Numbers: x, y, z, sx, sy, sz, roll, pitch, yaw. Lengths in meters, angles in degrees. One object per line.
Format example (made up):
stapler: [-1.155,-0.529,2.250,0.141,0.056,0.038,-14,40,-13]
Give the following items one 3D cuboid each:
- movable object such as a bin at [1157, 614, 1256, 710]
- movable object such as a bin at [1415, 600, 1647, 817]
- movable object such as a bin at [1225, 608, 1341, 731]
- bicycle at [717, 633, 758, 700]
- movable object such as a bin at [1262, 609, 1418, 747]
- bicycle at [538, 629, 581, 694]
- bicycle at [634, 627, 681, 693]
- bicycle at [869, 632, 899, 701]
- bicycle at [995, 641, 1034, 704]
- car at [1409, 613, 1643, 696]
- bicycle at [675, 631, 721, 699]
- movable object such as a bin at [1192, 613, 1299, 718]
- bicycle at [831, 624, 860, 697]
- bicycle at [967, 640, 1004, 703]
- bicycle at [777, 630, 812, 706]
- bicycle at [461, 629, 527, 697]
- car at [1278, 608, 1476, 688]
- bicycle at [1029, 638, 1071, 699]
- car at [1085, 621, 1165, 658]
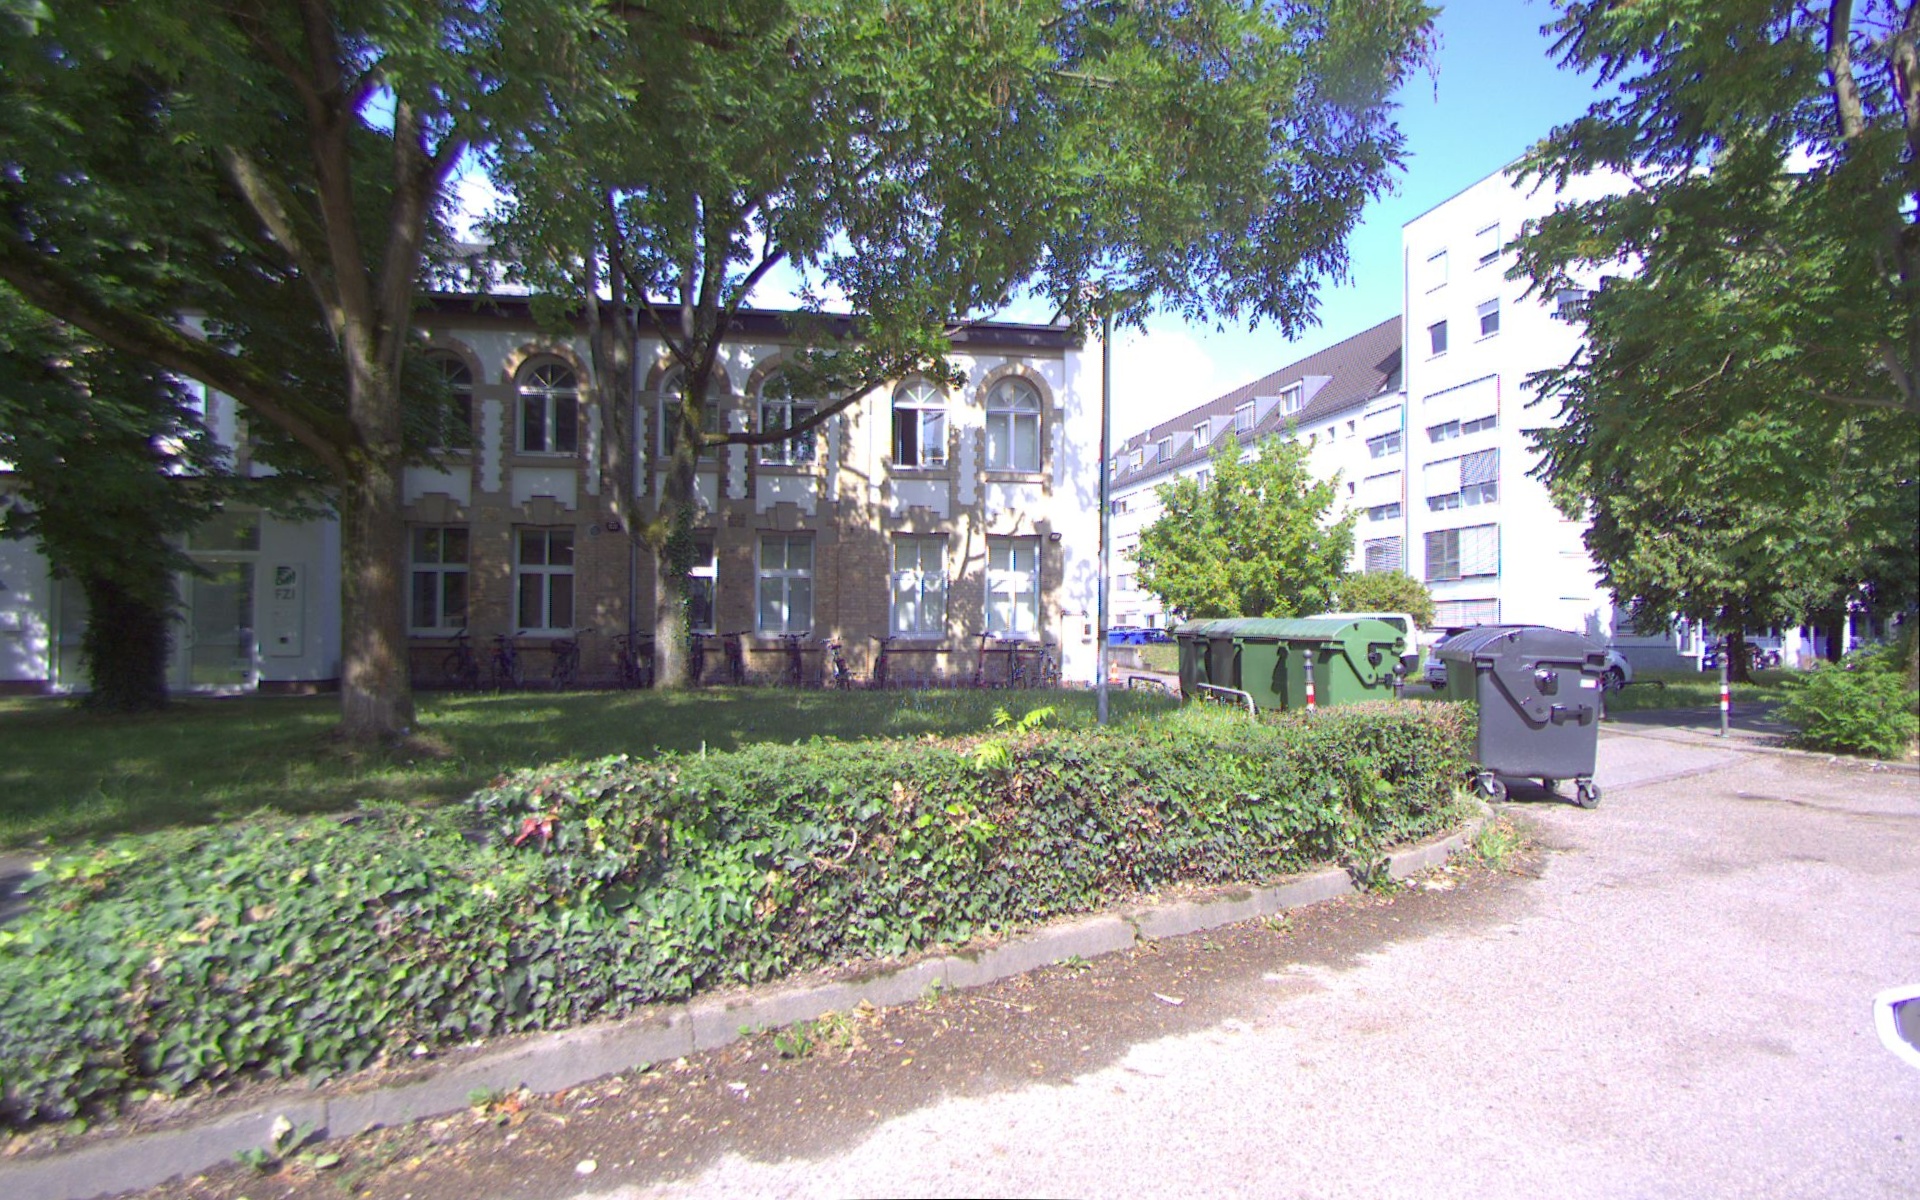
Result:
movable object such as a bin: [4.027,0.999,16.503,0.931,1.367,1.377,4,2,-15]
movable object such as a bin: [4.788,0.854,8.587,1.225,1.502,1.296,6,5,11]
movable object such as a bin: [4.342,0.919,13.604,0.865,1.471,1.230,4,2,-14]
bicycle: [-4.318,1.264,19.618,0.412,1.070,2.065,4,2,-4]
movable object such as a bin: [4.621,0.926,12.322,1.085,1.471,1.338,4,2,-16]
bicycle: [-7.662,1.149,19.258,0.314,1.051,1.856,4,2,-9]
bicycle: [-5.860,1.135,19.527,0.412,1.071,2.065,1,3,-4]
bicycle: [-1.546,1.310,20.272,0.351,1.158,1.856,4,2,-9]
bicycle: [1.097,1.447,20.443,0.314,1.051,1.856,4,2,-9]
car: [11.463,1.089,20.449,3.845,1.439,1.756,2,2,-9]
bicycle: [-5.061,1.224,19.471,0.412,1.070,2.065,4,2,-4]
movable object such as a bin: [4.207,0.948,14.921,0.931,1.367,1.230,4,2,-15]
bicycle: [-2.281,1.178,20.147,0.412,1.231,2.065,4,2,-4]
bicycle: [0.499,1.414,20.313,0.314,1.051,1.856,4,2,-9]
bicycle: [-3.240,1.299,19.790,0.412,1.138,2.065,4,6,-4]
bicycle: [-8.735,1.149,18.904,0.412,1.071,2.065,1,3,-4]
car: [11.911,1.344,28.855,4.863,1.991,1.998,3,0,-7]
bicycle: [1.828,1.378,20.597,0.314,1.051,1.856,4,2,-9]
car: [9.324,2.239,56.770,3.932,1.769,1.944,2,4,-14]
